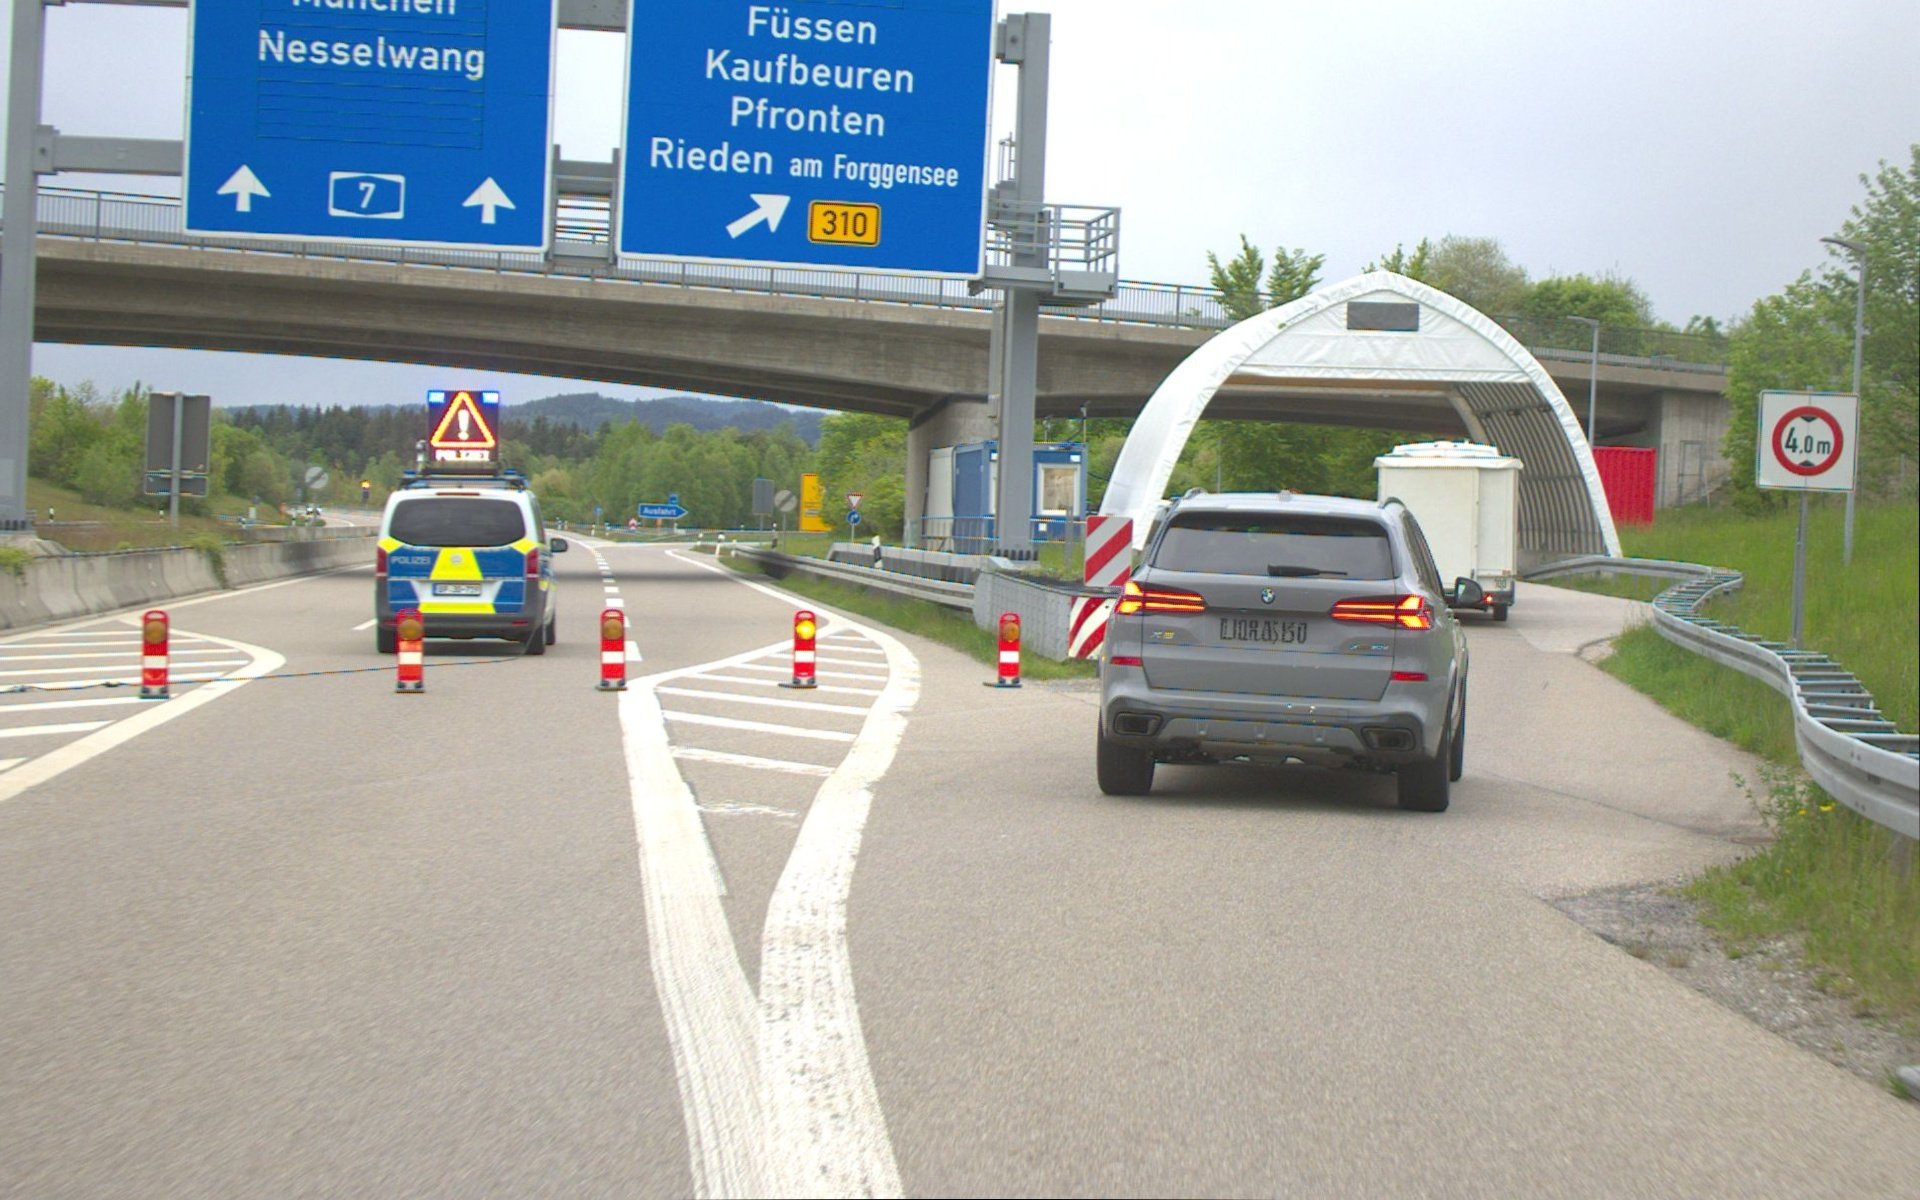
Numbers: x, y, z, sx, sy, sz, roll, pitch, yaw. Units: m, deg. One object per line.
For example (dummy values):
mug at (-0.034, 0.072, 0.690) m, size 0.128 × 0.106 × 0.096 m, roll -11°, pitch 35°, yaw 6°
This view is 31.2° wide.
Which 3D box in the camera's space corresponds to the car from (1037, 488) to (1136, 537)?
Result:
car at (3.740, -2.613, 102.324) m, size 1.514 × 1.437 × 3.316 m, roll 0°, pitch 2°, yaw -27°

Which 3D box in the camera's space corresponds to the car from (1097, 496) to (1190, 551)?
car at (6.860, -2.881, 128.858) m, size 1.993 × 2.007 × 4.001 m, roll 0°, pitch 2°, yaw -21°

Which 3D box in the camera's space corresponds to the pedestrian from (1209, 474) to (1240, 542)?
pedestrian at (6.871, -2.390, 89.442) m, size 0.720 × 1.769 × 0.690 m, roll 1°, pitch 1°, yaw -1°

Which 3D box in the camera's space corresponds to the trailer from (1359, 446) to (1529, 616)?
trailer at (7.398, -1.043, 53.185) m, size 2.279 × 2.422 × 6.816 m, roll 1°, pitch 1°, yaw 6°

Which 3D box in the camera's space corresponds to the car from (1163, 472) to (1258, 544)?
car at (6.326, -2.331, 87.126) m, size 1.993 × 1.766 × 3.766 m, roll 0°, pitch 2°, yaw -2°

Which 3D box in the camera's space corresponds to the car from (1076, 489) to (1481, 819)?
car at (1.990, 0.242, 20.349) m, size 1.994 × 1.713 × 3.998 m, roll 1°, pitch 1°, yaw 11°

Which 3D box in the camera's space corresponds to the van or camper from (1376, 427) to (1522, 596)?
van or camper at (8.395, -1.504, 59.499) m, size 2.157 × 2.754 × 5.870 m, roll 1°, pitch 1°, yaw 5°

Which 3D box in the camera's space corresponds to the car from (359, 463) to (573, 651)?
car at (-5.703, -0.556, 40.019) m, size 2.285 × 2.006 × 5.051 m, roll 1°, pitch 2°, yaw -7°

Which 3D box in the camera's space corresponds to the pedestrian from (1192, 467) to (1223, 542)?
pedestrian at (6.524, -2.519, 90.649) m, size 0.720 × 1.939 × 0.690 m, roll 1°, pitch 1°, yaw -1°

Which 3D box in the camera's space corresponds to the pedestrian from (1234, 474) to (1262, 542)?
pedestrian at (7.571, -2.424, 90.346) m, size 0.648 × 1.769 × 0.606 m, roll 0°, pitch 1°, yaw -3°
